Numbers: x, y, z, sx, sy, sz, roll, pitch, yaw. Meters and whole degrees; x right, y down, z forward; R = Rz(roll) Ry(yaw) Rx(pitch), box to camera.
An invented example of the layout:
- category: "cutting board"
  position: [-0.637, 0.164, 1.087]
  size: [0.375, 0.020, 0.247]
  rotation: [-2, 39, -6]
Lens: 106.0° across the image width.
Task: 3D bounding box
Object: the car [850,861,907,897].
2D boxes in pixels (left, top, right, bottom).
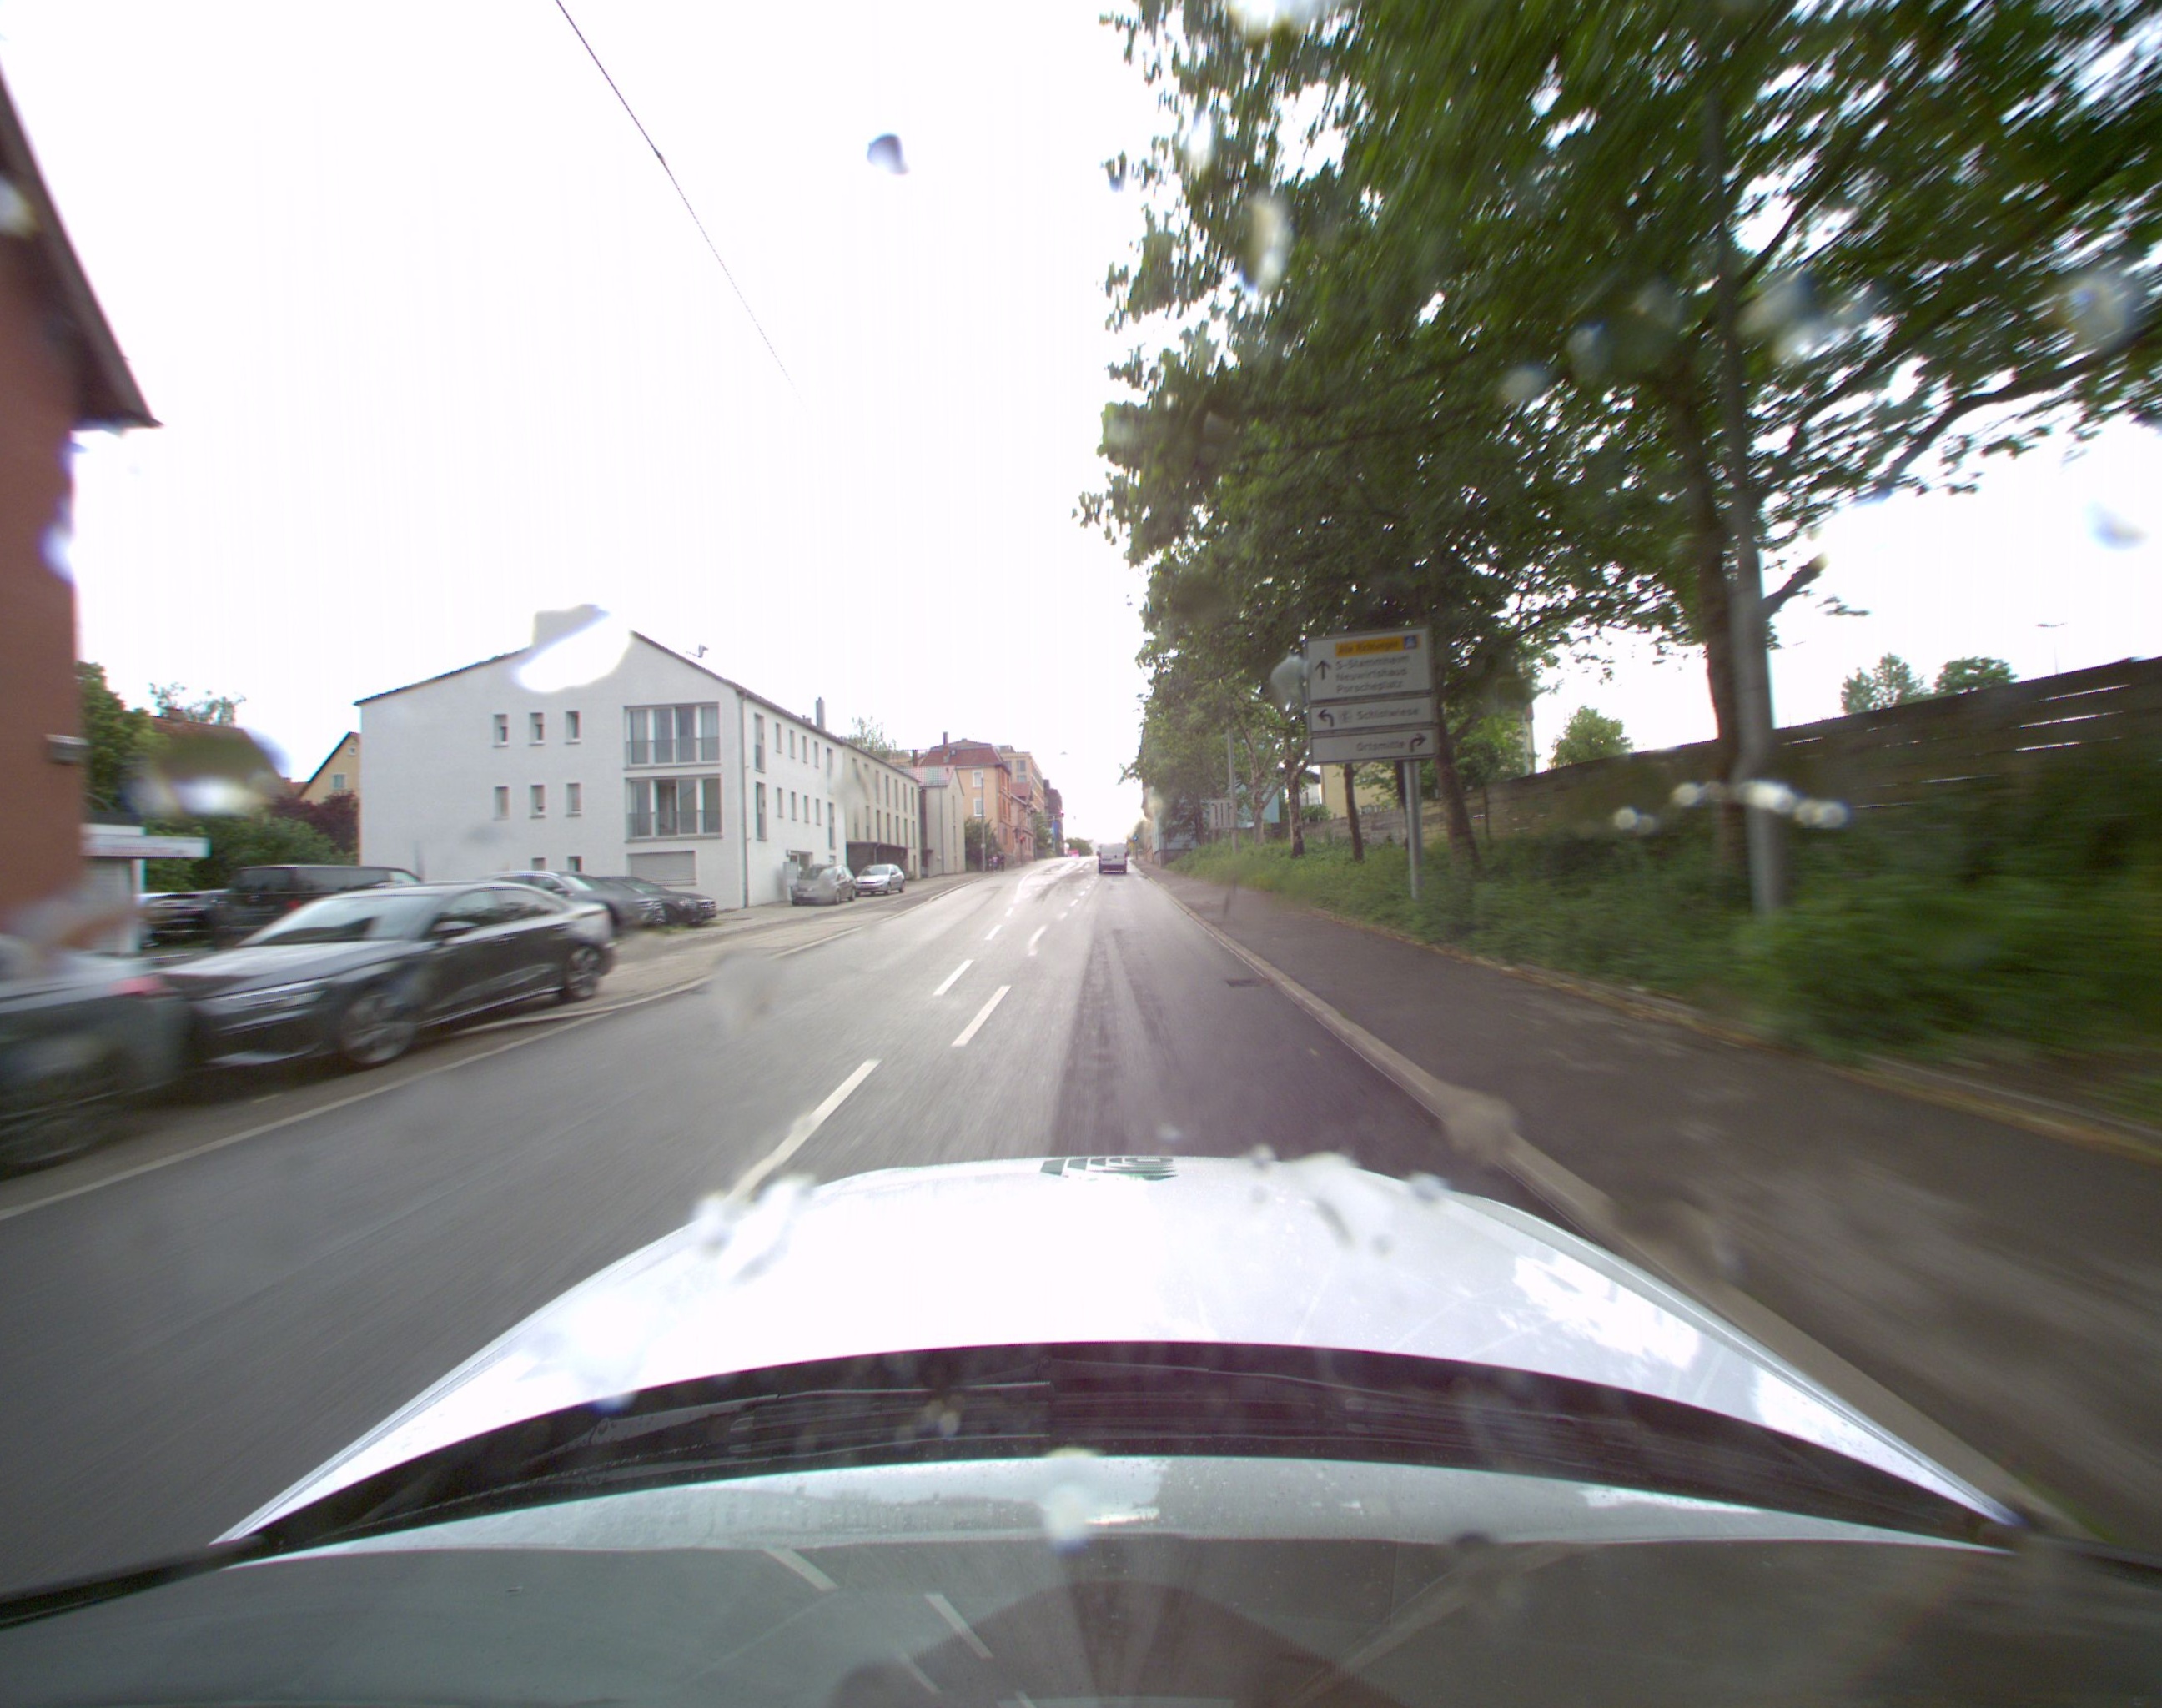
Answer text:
- category: "car"
  position: [-9.807, 1.182, 39.778]
  size: [1.662, 1.530, 4.095]
  rotation: [-3, 0, 0]

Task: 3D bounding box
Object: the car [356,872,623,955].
- category: "car"
  position: [-12.761, 1.260, 17.800]
  size: [4.273, 1.463, 2.069]
  rotation: [-3, 0, 2]

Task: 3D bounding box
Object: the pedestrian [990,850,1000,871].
- category: "pedestrian"
  position: [-8.301, 0.617, 78.497]
  size: [0.668, 2.013, 0.943]
  rotation: [-2, 0, 6]

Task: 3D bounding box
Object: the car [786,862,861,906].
- category: "car"
  position: [-10.284, 1.159, 32.821]
  size: [1.662, 1.530, 4.095]
  rotation: [-3, 0, 0]

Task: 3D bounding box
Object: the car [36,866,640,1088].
- category: "car"
  position: [-6.276, 0.876, 7.762]
  size: [1.628, 1.482, 4.361]
  rotation: [0, -1, 2]

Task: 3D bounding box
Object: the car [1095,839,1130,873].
- category: "car"
  position: [2.304, 0.190, 58.876]
  size: [2.326, 2.231, 4.002]
  rotation: [-3, -2, 2]

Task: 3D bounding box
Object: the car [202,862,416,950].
- category: "car"
  position: [-19.307, 1.219, 20.608]
  size: [1.834, 1.916, 3.585]
  rotation: [-3, 0, 3]

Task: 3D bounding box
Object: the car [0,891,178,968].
- category: "car"
  position: [-21.533, 1.551, 16.892]
  size: [1.455, 1.346, 3.557]
  rotation: [-3, 0, 4]

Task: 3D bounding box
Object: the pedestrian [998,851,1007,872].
- category: "pedestrian"
  position: [-7.551, 0.705, 78.458]
  size: [0.668, 2.013, 0.943]
  rotation: [-2, 0, 6]

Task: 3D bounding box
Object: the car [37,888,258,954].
- category: "car"
  position: [-24.074, 1.674, 21.198]
  size: [1.455, 1.346, 3.557]
  rotation: [-3, 0, 4]

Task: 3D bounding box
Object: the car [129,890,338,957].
- category: "car"
  position: [-21.654, 1.714, 21.014]
  size: [1.455, 1.346, 3.557]
  rotation: [-3, 0, 4]

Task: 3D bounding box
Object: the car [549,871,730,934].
- category: "car"
  position: [-12.378, 1.346, 22.997]
  size: [3.968, 1.472, 2.003]
  rotation: [-3, 0, 5]

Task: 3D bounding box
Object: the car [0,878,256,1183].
- category: "car"
  position: [-6.323, 0.936, 3.100]
  size: [1.737, 1.482, 4.388]
  rotation: [-2, 0, 2]

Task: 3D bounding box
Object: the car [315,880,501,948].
- category: "car"
  position: [-16.614, 1.423, 20.335]
  size: [1.455, 1.346, 3.557]
  rotation: [-3, 0, 4]

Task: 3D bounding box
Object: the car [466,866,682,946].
- category: "car"
  position: [-12.615, 1.264, 20.451]
  size: [4.130, 1.698, 2.003]
  rotation: [-3, 0, 5]
